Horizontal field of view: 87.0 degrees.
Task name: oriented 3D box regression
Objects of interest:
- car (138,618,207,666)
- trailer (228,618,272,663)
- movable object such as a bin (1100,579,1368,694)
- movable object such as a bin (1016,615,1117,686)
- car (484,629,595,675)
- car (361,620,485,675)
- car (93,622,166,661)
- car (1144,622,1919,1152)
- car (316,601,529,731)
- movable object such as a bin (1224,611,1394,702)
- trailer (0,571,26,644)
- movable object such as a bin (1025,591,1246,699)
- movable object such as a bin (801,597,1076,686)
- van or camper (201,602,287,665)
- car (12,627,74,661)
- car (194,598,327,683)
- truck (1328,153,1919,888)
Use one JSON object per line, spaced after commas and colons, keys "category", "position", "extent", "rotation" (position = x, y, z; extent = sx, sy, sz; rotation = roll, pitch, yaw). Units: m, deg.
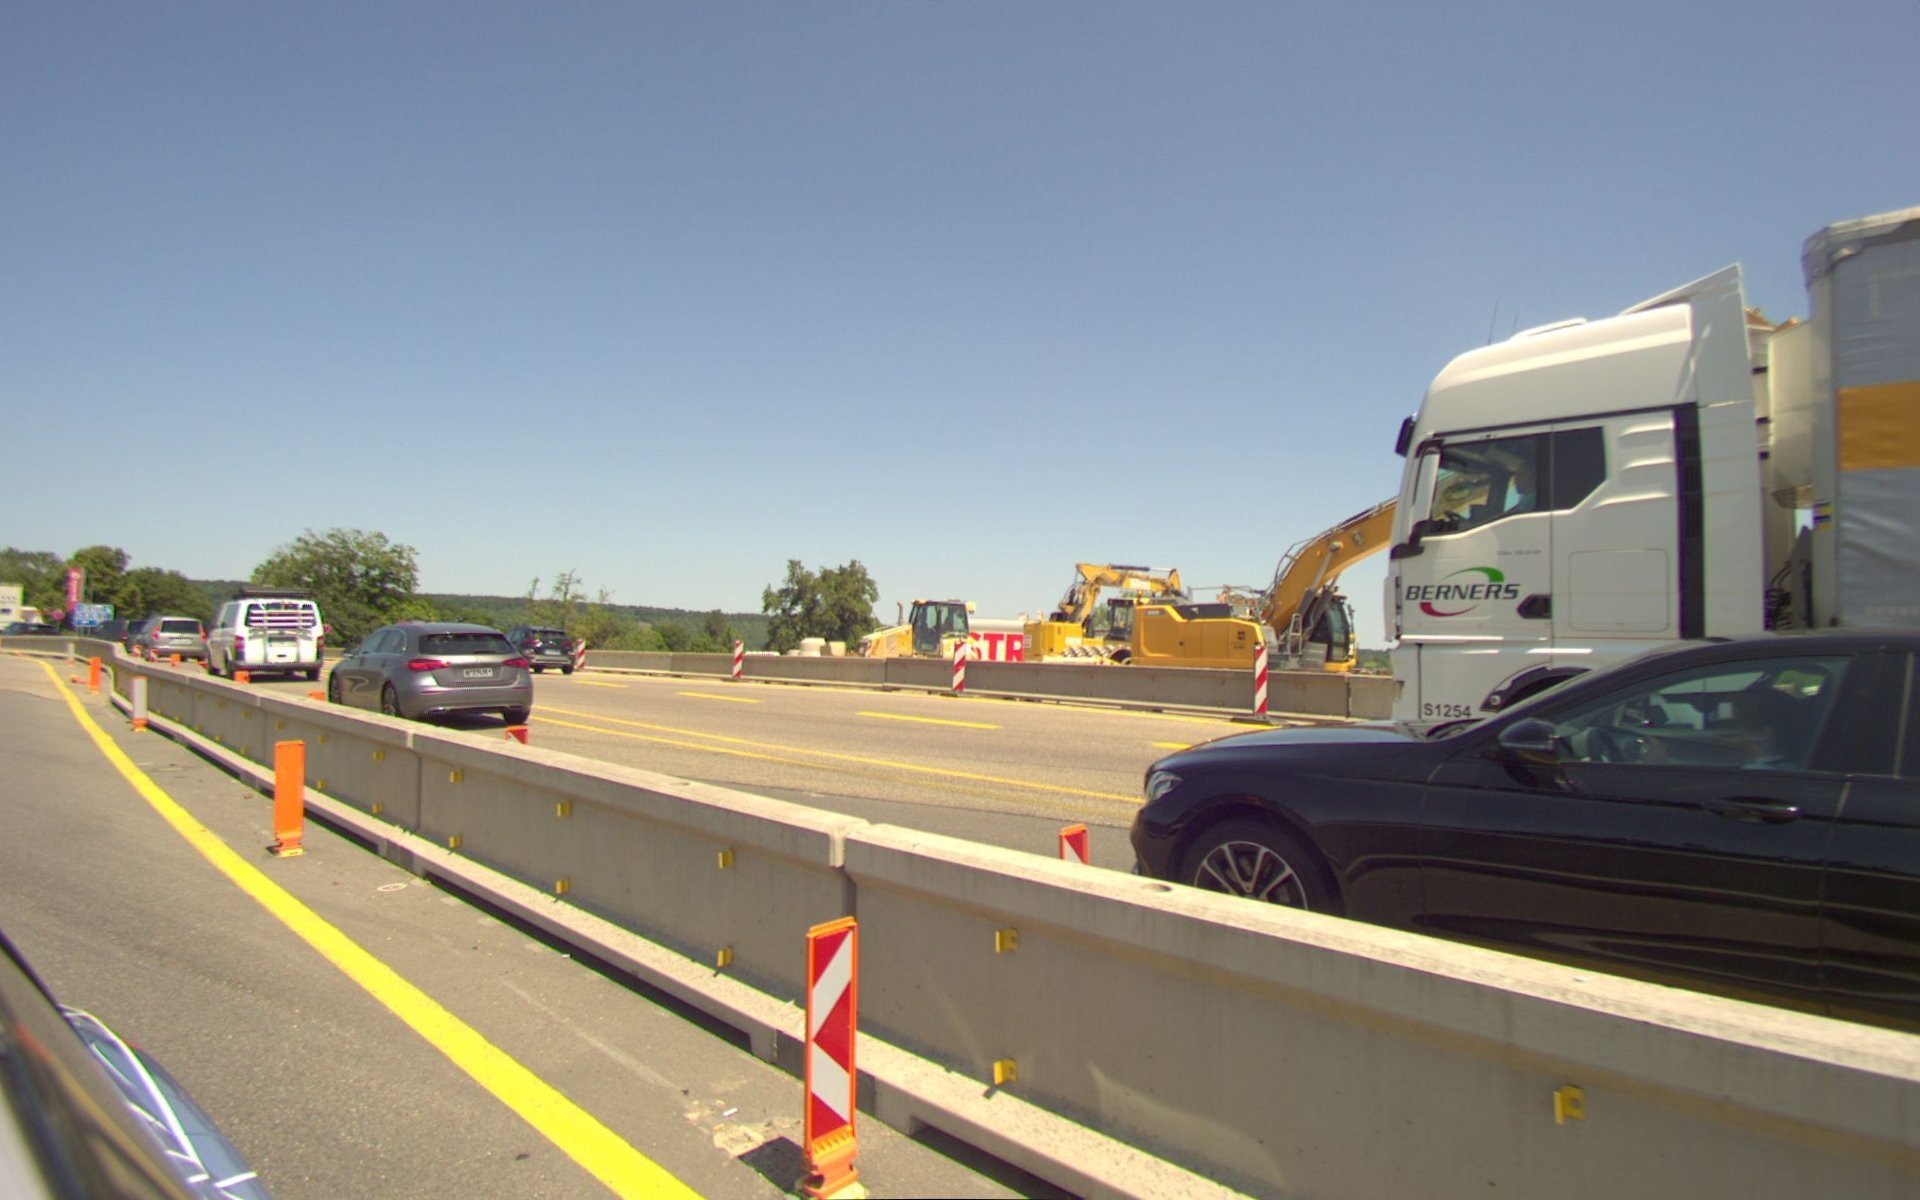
{"category": "car", "position": [-28.351, 1.510, 36.378], "extent": [1.735, 1.628, 4.234], "rotation": [2, -3, -40]}
{"category": "trailer", "position": [-70.728, 4.188, 100.743], "extent": [3.108, 4.143, 14.196], "rotation": [4, -6, -35]}
{"category": "movable object such as a bin", "position": [6.597, 0.883, 24.807], "extent": [3.252, 2.459, 5.446], "rotation": [2, -3, -42]}
{"category": "movable object such as a bin", "position": [4.293, 2.027, 41.427], "extent": [3.306, 2.748, 2.887], "rotation": [0, -1, -12]}
{"category": "car", "position": [-14.259, 1.742, 34.210], "extent": [1.784, 1.404, 4.657], "rotation": [7, -6, -44]}
{"category": "car", "position": [-15.845, 1.364, 29.768], "extent": [1.970, 1.513, 4.657], "rotation": [2, -3, -45]}
{"category": "car", "position": [-41.649, 2.086, 50.735], "extent": [4.704, 1.778, 1.758], "rotation": [-2, -5, 38]}
{"category": "car", "position": [2.884, 0.801, 3.606], "extent": [4.128, 1.419, 1.707], "rotation": [-2, -3, 42]}
{"category": "car", "position": [-7.767, 0.877, 14.462], "extent": [3.953, 1.616, 1.493], "rotation": [-2, -3, 43]}
{"category": "movable object such as a bin", "position": [13.773, 2.145, 39.904], "extent": [5.541, 3.281, 3.763], "rotation": [-2, -2, 34]}
{"category": "trailer", "position": [-61.292, 0.482, 60.857], "extent": [13.850, 4.160, 2.896], "rotation": [-1, -5, 28]}
{"category": "movable object such as a bin", "position": [5.096, 1.214, 29.075], "extent": [5.969, 2.784, 2.818], "rotation": [0, -2, -35]}
{"category": "movable object such as a bin", "position": [-0.683, 1.193, 31.796], "extent": [7.792, 2.451, 3.731], "rotation": [0, -1, -25]}
{"category": "van or camper", "position": [-31.347, 1.486, 44.235], "extent": [2.074, 2.561, 6.310], "rotation": [5, -5, -43]}
{"category": "car", "position": [-43.647, 2.079, 48.125], "extent": [4.469, 1.493, 1.671], "rotation": [-2, -6, 42]}
{"category": "car", "position": [-17.402, 0.974, 25.055], "extent": [1.851, 1.887, 5.061], "rotation": [-1, -1, -45]}
{"category": "truck", "position": [6.208, -0.420, 7.169], "extent": [6.197, 4.292, 2.741], "rotation": [-2, -4, 42]}
